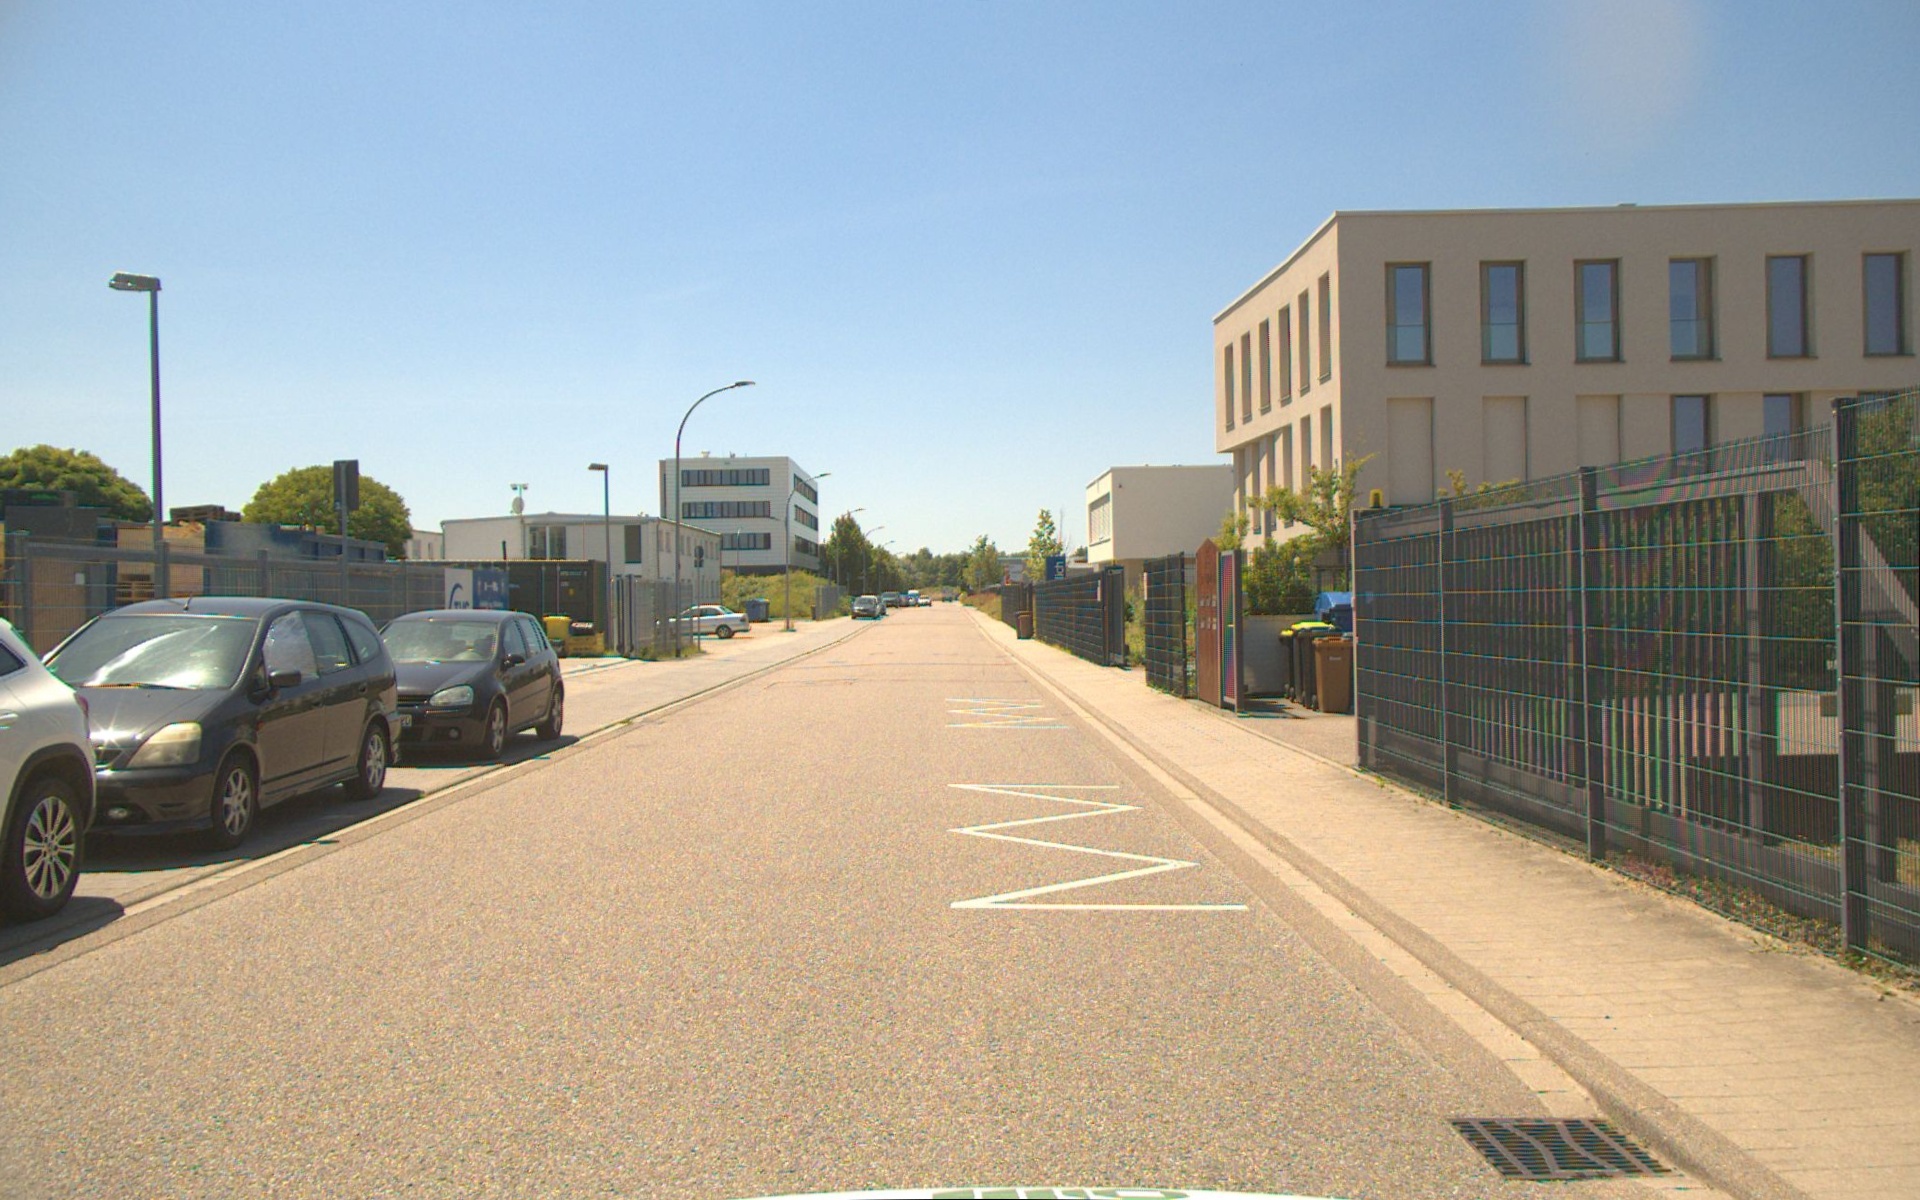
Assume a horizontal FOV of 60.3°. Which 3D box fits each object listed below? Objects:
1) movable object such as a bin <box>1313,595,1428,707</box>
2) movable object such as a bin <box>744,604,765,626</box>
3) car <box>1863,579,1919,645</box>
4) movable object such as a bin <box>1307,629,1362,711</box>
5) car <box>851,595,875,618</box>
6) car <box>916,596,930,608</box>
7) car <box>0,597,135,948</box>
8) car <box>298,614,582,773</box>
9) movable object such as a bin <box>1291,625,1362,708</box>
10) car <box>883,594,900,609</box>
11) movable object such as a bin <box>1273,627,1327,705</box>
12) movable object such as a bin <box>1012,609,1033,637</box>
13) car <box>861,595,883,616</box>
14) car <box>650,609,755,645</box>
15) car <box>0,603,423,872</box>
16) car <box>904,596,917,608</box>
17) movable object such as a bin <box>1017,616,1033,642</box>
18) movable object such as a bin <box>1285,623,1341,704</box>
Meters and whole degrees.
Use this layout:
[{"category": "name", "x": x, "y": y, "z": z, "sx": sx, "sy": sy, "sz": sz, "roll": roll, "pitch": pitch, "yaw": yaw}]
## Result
[{"category": "movable object such as a bin", "x": 5.681, "y": 0.690, "z": 22.942, "sx": 1.307, "sy": 1.485, "sz": 0.948, "roll": -1, "pitch": 0, "yaw": -1}, {"category": "movable object such as a bin", "x": -13.192, "y": 0.959, "z": 106.231, "sx": 1.260, "sy": 1.437, "sz": 1.805, "roll": -1, "pitch": 0, "yaw": -5}, {"category": "car", "x": 23.713, "y": 0.295, "z": 39.314, "sx": 1.953, "sy": 1.512, "sz": 4.519, "roll": -1, "pitch": 1, "yaw": -1}, {"category": "movable object such as a bin", "x": 4.785, "y": 0.887, "z": 21.145, "sx": 0.532, "sy": 1.012, "sz": 0.580, "roll": -1, "pitch": 0, "yaw": -1}, {"category": "car", "x": -6.594, "y": 0.449, "z": 112.589, "sx": 1.437, "sy": 1.516, "sz": 3.207, "roll": -1, "pitch": 0, "yaw": 0}, {"category": "car", "x": -4.829, "y": 0.252, "z": 218.084, "sx": 1.767, "sy": 1.584, "sz": 3.999, "roll": -1, "pitch": 0, "yaw": -1}, {"category": "car", "x": -5.266, "y": 0.785, "z": 6.719, "sx": 1.733, "sy": 1.620, "sz": 4.358, "roll": 0, "pitch": 0, "yaw": -2}, {"category": "car", "x": -5.451, "y": 0.909, "z": 17.926, "sx": 1.733, "sy": 1.487, "sz": 4.332, "roll": 0, "pitch": 0, "yaw": -1}, {"category": "movable object such as a bin", "x": 4.813, "y": 0.866, "z": 21.734, "sx": 0.777, "sy": 1.054, "sz": 0.580, "roll": -1, "pitch": 0, "yaw": -1}, {"category": "car", "x": -6.963, "y": 0.130, "z": 167.584, "sx": 1.611, "sy": 1.516, "sz": 3.207, "roll": -1, "pitch": 0, "yaw": 0}, {"category": "movable object such as a bin", "x": 4.753, "y": 0.913, "z": 23.177, "sx": 0.532, "sy": 1.054, "sz": 0.913, "roll": -1, "pitch": 0, "yaw": -1}, {"category": "movable object such as a bin", "x": 2.492, "y": 0.923, "z": 65.866, "sx": 0.763, "sy": 1.037, "sz": 0.665, "roll": -5, "pitch": 1, "yaw": 3}, {"category": "car", "x": -6.379, "y": 0.383, "z": 119.681, "sx": 1.437, "sy": 1.516, "sz": 3.207, "roll": -1, "pitch": 0, "yaw": 0}, {"category": "car", "x": -11.079, "y": 1.141, "z": 71.289, "sx": 4.190, "sy": 1.388, "sz": 1.897, "roll": -2, "pitch": 0, "yaw": -1}, {"category": "car", "x": -5.451, "y": 0.824, "z": 12.016, "sx": 1.733, "sy": 1.583, "sz": 4.499, "roll": 0, "pitch": 0, "yaw": -2}, {"category": "car", "x": -7.026, "y": 0.280, "z": 234.296, "sx": 1.767, "sy": 1.584, "sz": 3.999, "roll": -1, "pitch": 0, "yaw": -1}, {"category": "movable object such as a bin", "x": 2.539, "y": 1.143, "z": 64.885, "sx": 0.541, "sy": 0.944, "sz": 0.522, "roll": -5, "pitch": 1, "yaw": 3}, {"category": "movable object such as a bin", "x": 4.764, "y": 0.855, "z": 22.370, "sx": 0.592, "sy": 1.054, "sz": 0.650, "roll": -1, "pitch": 0, "yaw": 0}]
